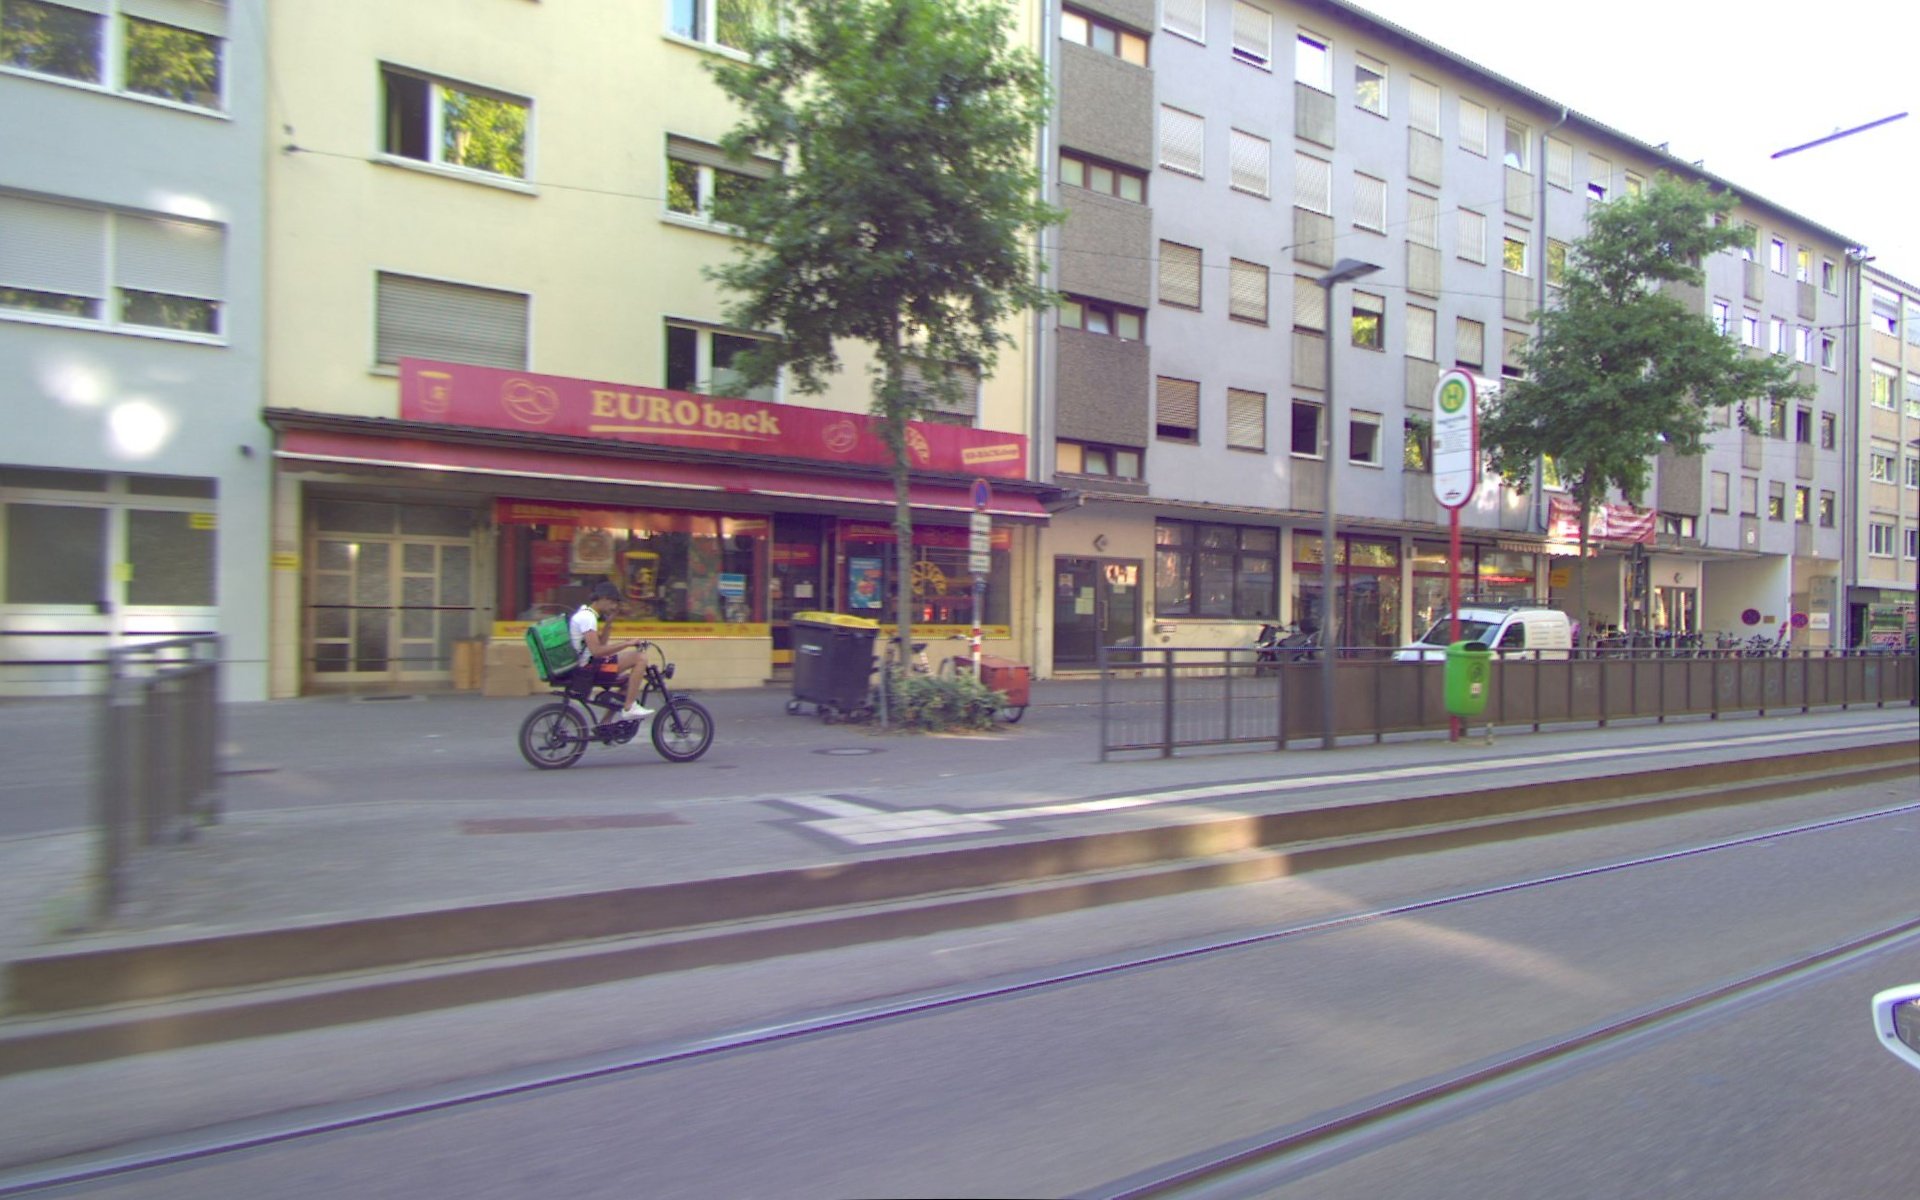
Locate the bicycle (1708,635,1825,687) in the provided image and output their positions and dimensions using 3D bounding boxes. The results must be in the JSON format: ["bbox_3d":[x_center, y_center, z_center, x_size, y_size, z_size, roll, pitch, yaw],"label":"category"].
[{"bbox_3d":[20.791,1.549,25.961,0.628,1.088,2.243,1,2,-28],"label":"bicycle"}]

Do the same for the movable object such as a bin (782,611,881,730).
[{"bbox_3d":[-1.663,0.868,12.871,0.775,1.366,1.162,1,3,-33],"label":"movable object such as a bin"}]

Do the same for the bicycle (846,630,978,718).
[{"bbox_3d":[-0.649,0.997,13.893,1.781,1.122,0.495,1,3,-33],"label":"bicycle"}]

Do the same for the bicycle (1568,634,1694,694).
[{"bbox_3d":[14.828,1.376,22.270,0.628,1.088,2.243,1,2,-28],"label":"bicycle"}]

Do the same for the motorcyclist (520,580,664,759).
[{"bbox_3d":[-3.214,0.590,8.772,1.091,1.468,0.593,1,-3,-29],"label":"motorcyclist"}]

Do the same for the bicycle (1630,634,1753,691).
[{"bbox_3d":[17.234,1.449,23.739,0.628,1.088,2.243,1,2,-28],"label":"bicycle"}]

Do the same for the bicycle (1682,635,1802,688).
[{"bbox_3d":[19.375,1.504,24.956,0.628,1.088,2.243,1,2,-28],"label":"bicycle"}]

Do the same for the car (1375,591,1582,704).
[{"bbox_3d":[9.949,0.872,19.225,3.953,1.966,1.680,1,-1,-30],"label":"car"}]

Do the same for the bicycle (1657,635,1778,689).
[{"bbox_3d":[18.294,1.472,24.333,0.628,1.088,2.243,1,2,-28],"label":"bicycle"}]

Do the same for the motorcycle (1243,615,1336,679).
[{"bbox_3d":[7.160,1.013,21.776,2.196,1.328,0.596,1,-1,-30],"label":"motorcycle"}]

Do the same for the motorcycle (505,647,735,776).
[{"bbox_3d":[-2.980,0.939,8.880,1.855,1.046,0.593,1,-3,-30],"label":"motorcycle"}]

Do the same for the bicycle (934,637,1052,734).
[{"bbox_3d":[0.412,1.091,13.337,0.875,1.089,1.526,1,2,-30],"label":"bicycle"}]

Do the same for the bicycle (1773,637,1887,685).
[{"bbox_3d":[23.849,1.653,27.593,0.628,1.088,2.243,1,2,-28],"label":"bicycle"}]

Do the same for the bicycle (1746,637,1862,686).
[{"bbox_3d":[22.422,1.610,26.747,0.628,1.088,2.243,1,2,-28],"label":"bicycle"}]

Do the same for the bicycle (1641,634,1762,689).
[{"bbox_3d":[17.715,1.438,24.078,0.628,1.088,2.243,1,2,-28],"label":"bicycle"}]

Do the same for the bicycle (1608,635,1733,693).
[{"bbox_3d":[16.255,1.431,23.053,0.628,1.088,2.243,1,2,-28],"label":"bicycle"}]
